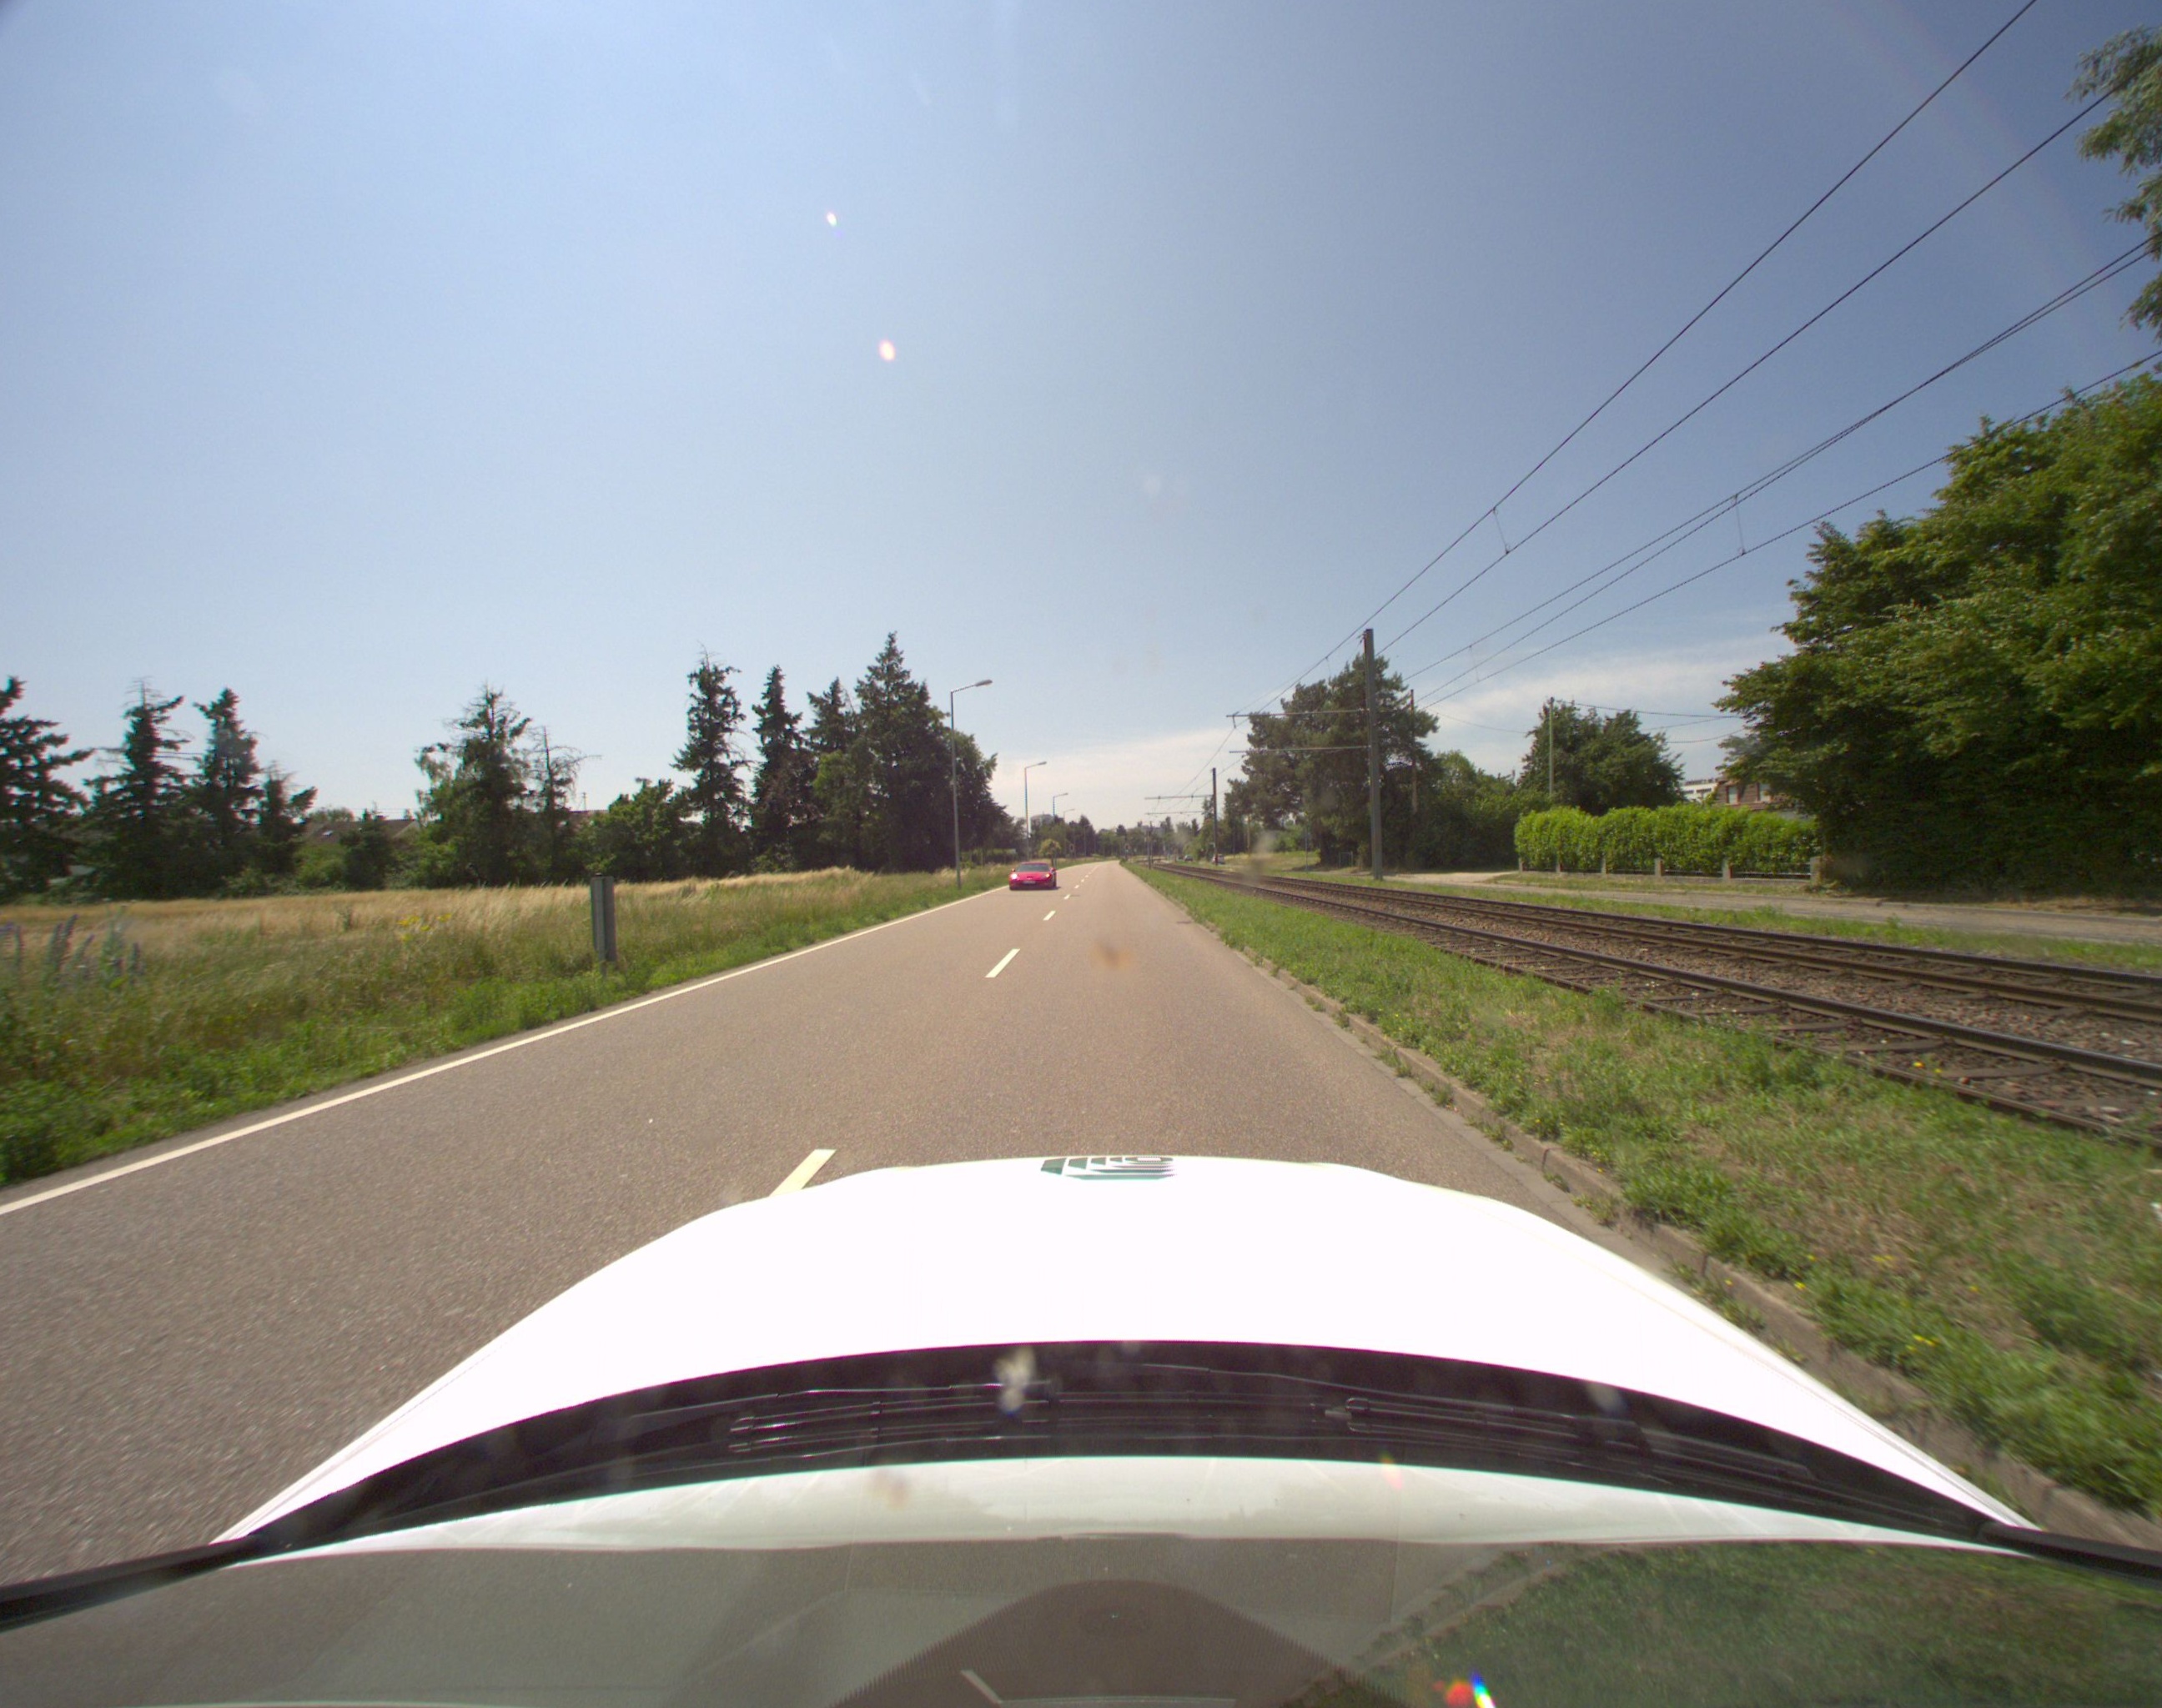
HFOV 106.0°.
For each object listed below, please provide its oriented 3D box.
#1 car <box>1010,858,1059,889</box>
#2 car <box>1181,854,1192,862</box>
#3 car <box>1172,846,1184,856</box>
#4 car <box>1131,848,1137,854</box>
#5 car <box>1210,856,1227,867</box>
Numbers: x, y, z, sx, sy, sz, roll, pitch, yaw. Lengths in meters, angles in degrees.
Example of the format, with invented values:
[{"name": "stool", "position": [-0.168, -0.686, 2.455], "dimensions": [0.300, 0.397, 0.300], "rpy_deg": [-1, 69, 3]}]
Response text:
[{"name": "car", "position": [-2.074, 0.882, 37.165], "dimensions": [1.800, 1.286, 4.287], "rpy_deg": [-2, -1, 2]}, {"name": "car", "position": [23.064, 0.881, 177.527], "dimensions": [1.908, 1.662, 4.002], "rpy_deg": [-2, -1, 2]}, {"name": "car", "position": [16.769, -0.510, 141.354], "dimensions": [1.737, 1.559, 4.002], "rpy_deg": [-2, -1, 2]}, {"name": "car", "position": [15.049, -0.908, 232.260], "dimensions": [1.546, 1.585, 3.570], "rpy_deg": [-2, -1, 2]}, {"name": "car", "position": [20.486, 1.192, 121.717], "dimensions": [1.986, 1.508, 4.001], "rpy_deg": [-2, -1, 2]}]
